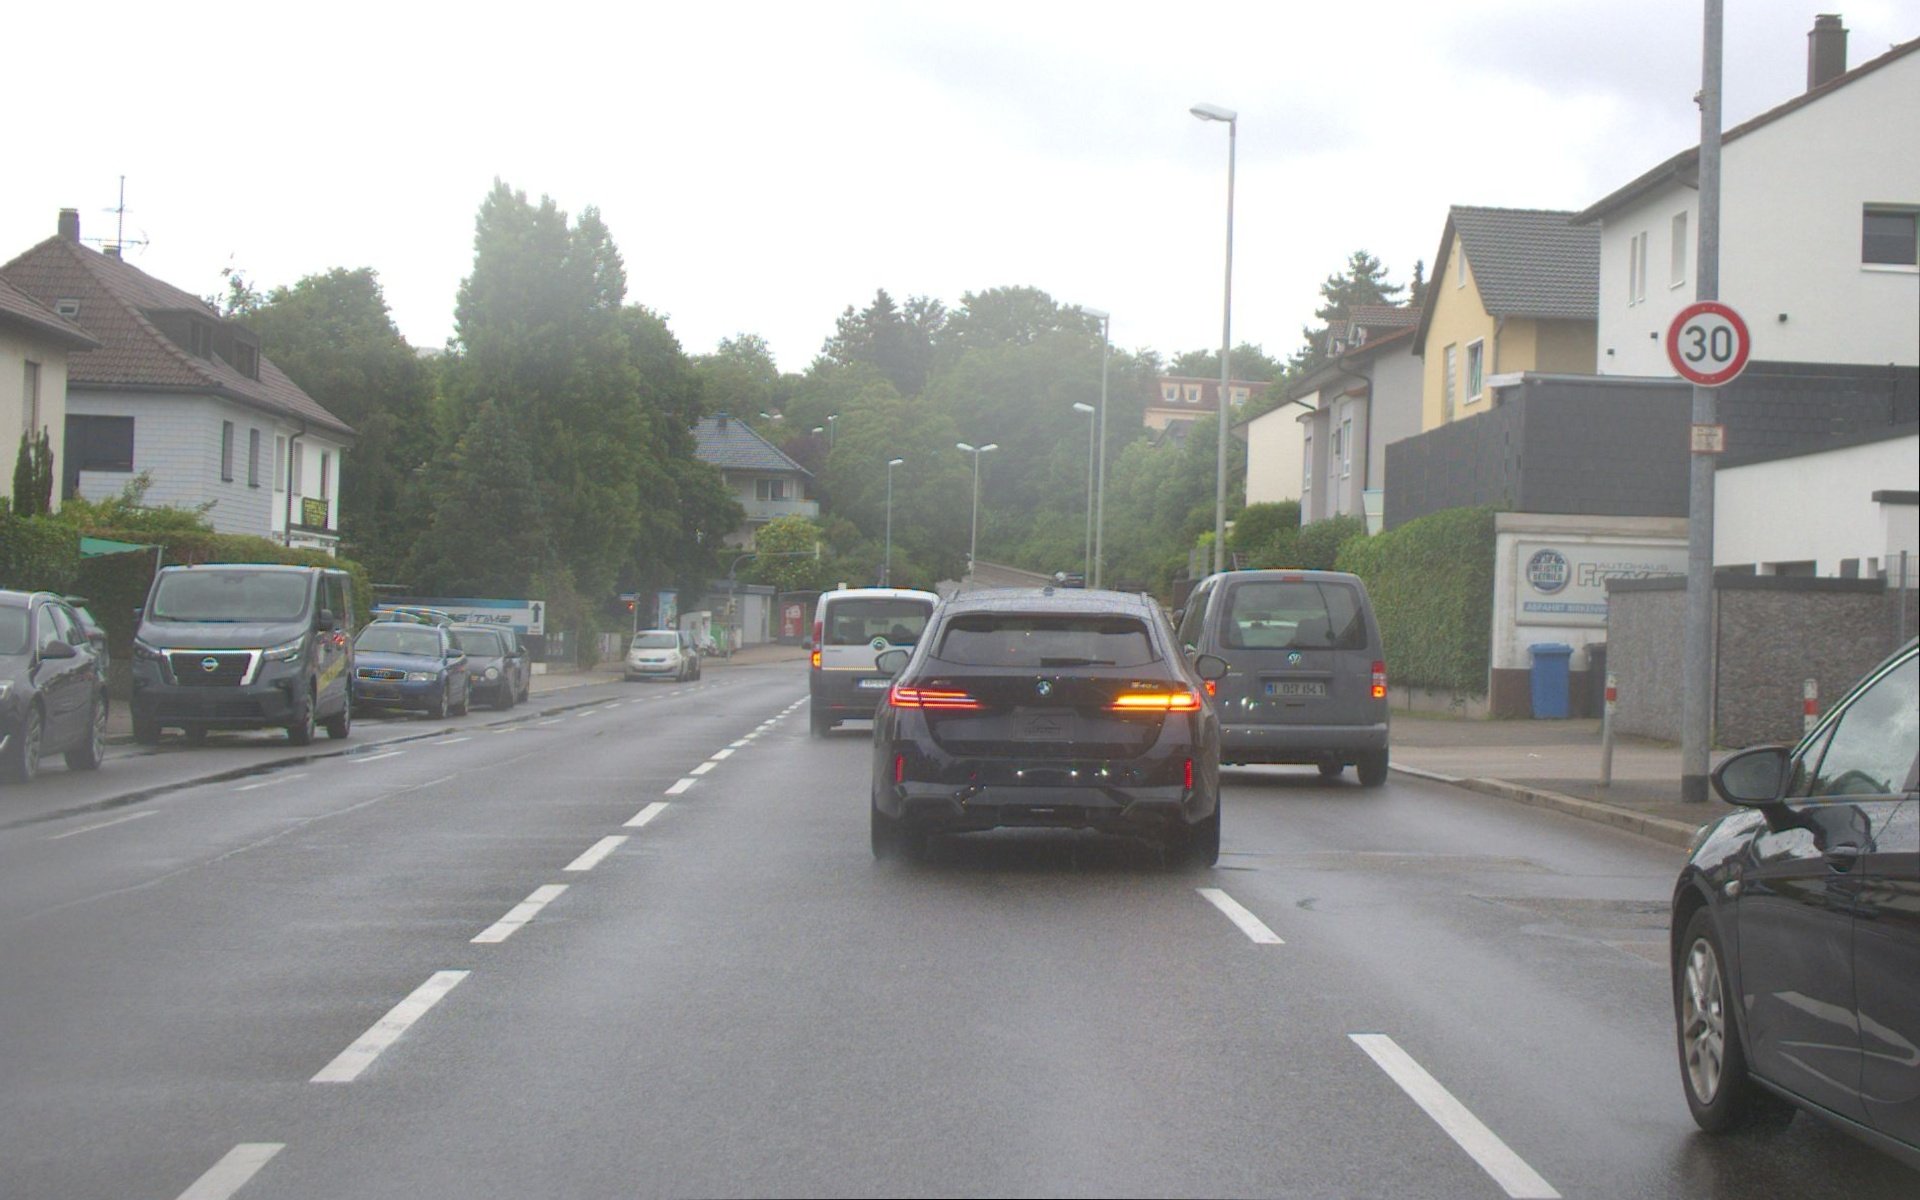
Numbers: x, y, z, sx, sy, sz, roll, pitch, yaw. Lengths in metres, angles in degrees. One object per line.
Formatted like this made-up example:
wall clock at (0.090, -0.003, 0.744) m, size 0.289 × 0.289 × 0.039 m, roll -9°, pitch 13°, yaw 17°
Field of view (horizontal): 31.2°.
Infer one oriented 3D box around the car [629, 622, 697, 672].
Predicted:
car at (-9.713, 1.535, 112.545) m, size 1.884 × 1.580 × 4.000 m, roll 1°, pitch -1°, yaw -1°

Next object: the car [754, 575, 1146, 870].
car at (-0.044, 0.657, 19.702) m, size 1.993 × 1.479 × 4.000 m, roll 1°, pitch -1°, yaw 0°

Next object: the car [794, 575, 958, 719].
car at (-1.052, 0.605, 44.472) m, size 1.993 × 1.732 × 4.000 m, roll 1°, pitch -1°, yaw 0°

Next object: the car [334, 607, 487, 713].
car at (-8.427, 0.915, 53.037) m, size 1.757 × 1.527 × 4.286 m, roll 1°, pitch -1°, yaw -2°

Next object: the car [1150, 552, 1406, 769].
car at (2.741, 0.528, 30.459) m, size 1.838 × 1.761 × 4.000 m, roll 1°, pitch -1°, yaw 0°

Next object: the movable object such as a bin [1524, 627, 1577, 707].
movable object such as a bin at (8.341, 0.947, 48.568) m, size 0.595 × 1.101 × 0.667 m, roll -2°, pitch 0°, yaw -1°

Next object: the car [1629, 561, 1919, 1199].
car at (2.827, 0.673, 7.636) m, size 1.756 × 1.444 × 4.001 m, roll 1°, pitch 1°, yaw -2°

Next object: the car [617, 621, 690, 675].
car at (-9.410, 1.482, 105.795) m, size 1.884 × 1.580 × 4.000 m, roll 1°, pitch -1°, yaw -1°

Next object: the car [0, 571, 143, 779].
car at (-7.800, 0.557, 27.292) m, size 1.750 × 1.512 × 4.528 m, roll 1°, pitch -1°, yaw -3°

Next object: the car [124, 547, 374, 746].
car at (-7.723, 0.509, 37.814) m, size 1.912 × 1.996 × 5.088 m, roll 1°, pitch -1°, yaw -3°

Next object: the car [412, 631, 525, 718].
car at (-8.446, 1.269, 59.335) m, size 1.551 × 1.426 × 4.015 m, roll 1°, pitch -1°, yaw -3°

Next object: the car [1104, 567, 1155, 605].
car at (11.055, -0.908, 224.395) m, size 2.521 × 2.006 × 5.610 m, roll 2°, pitch 4°, yaw -4°
